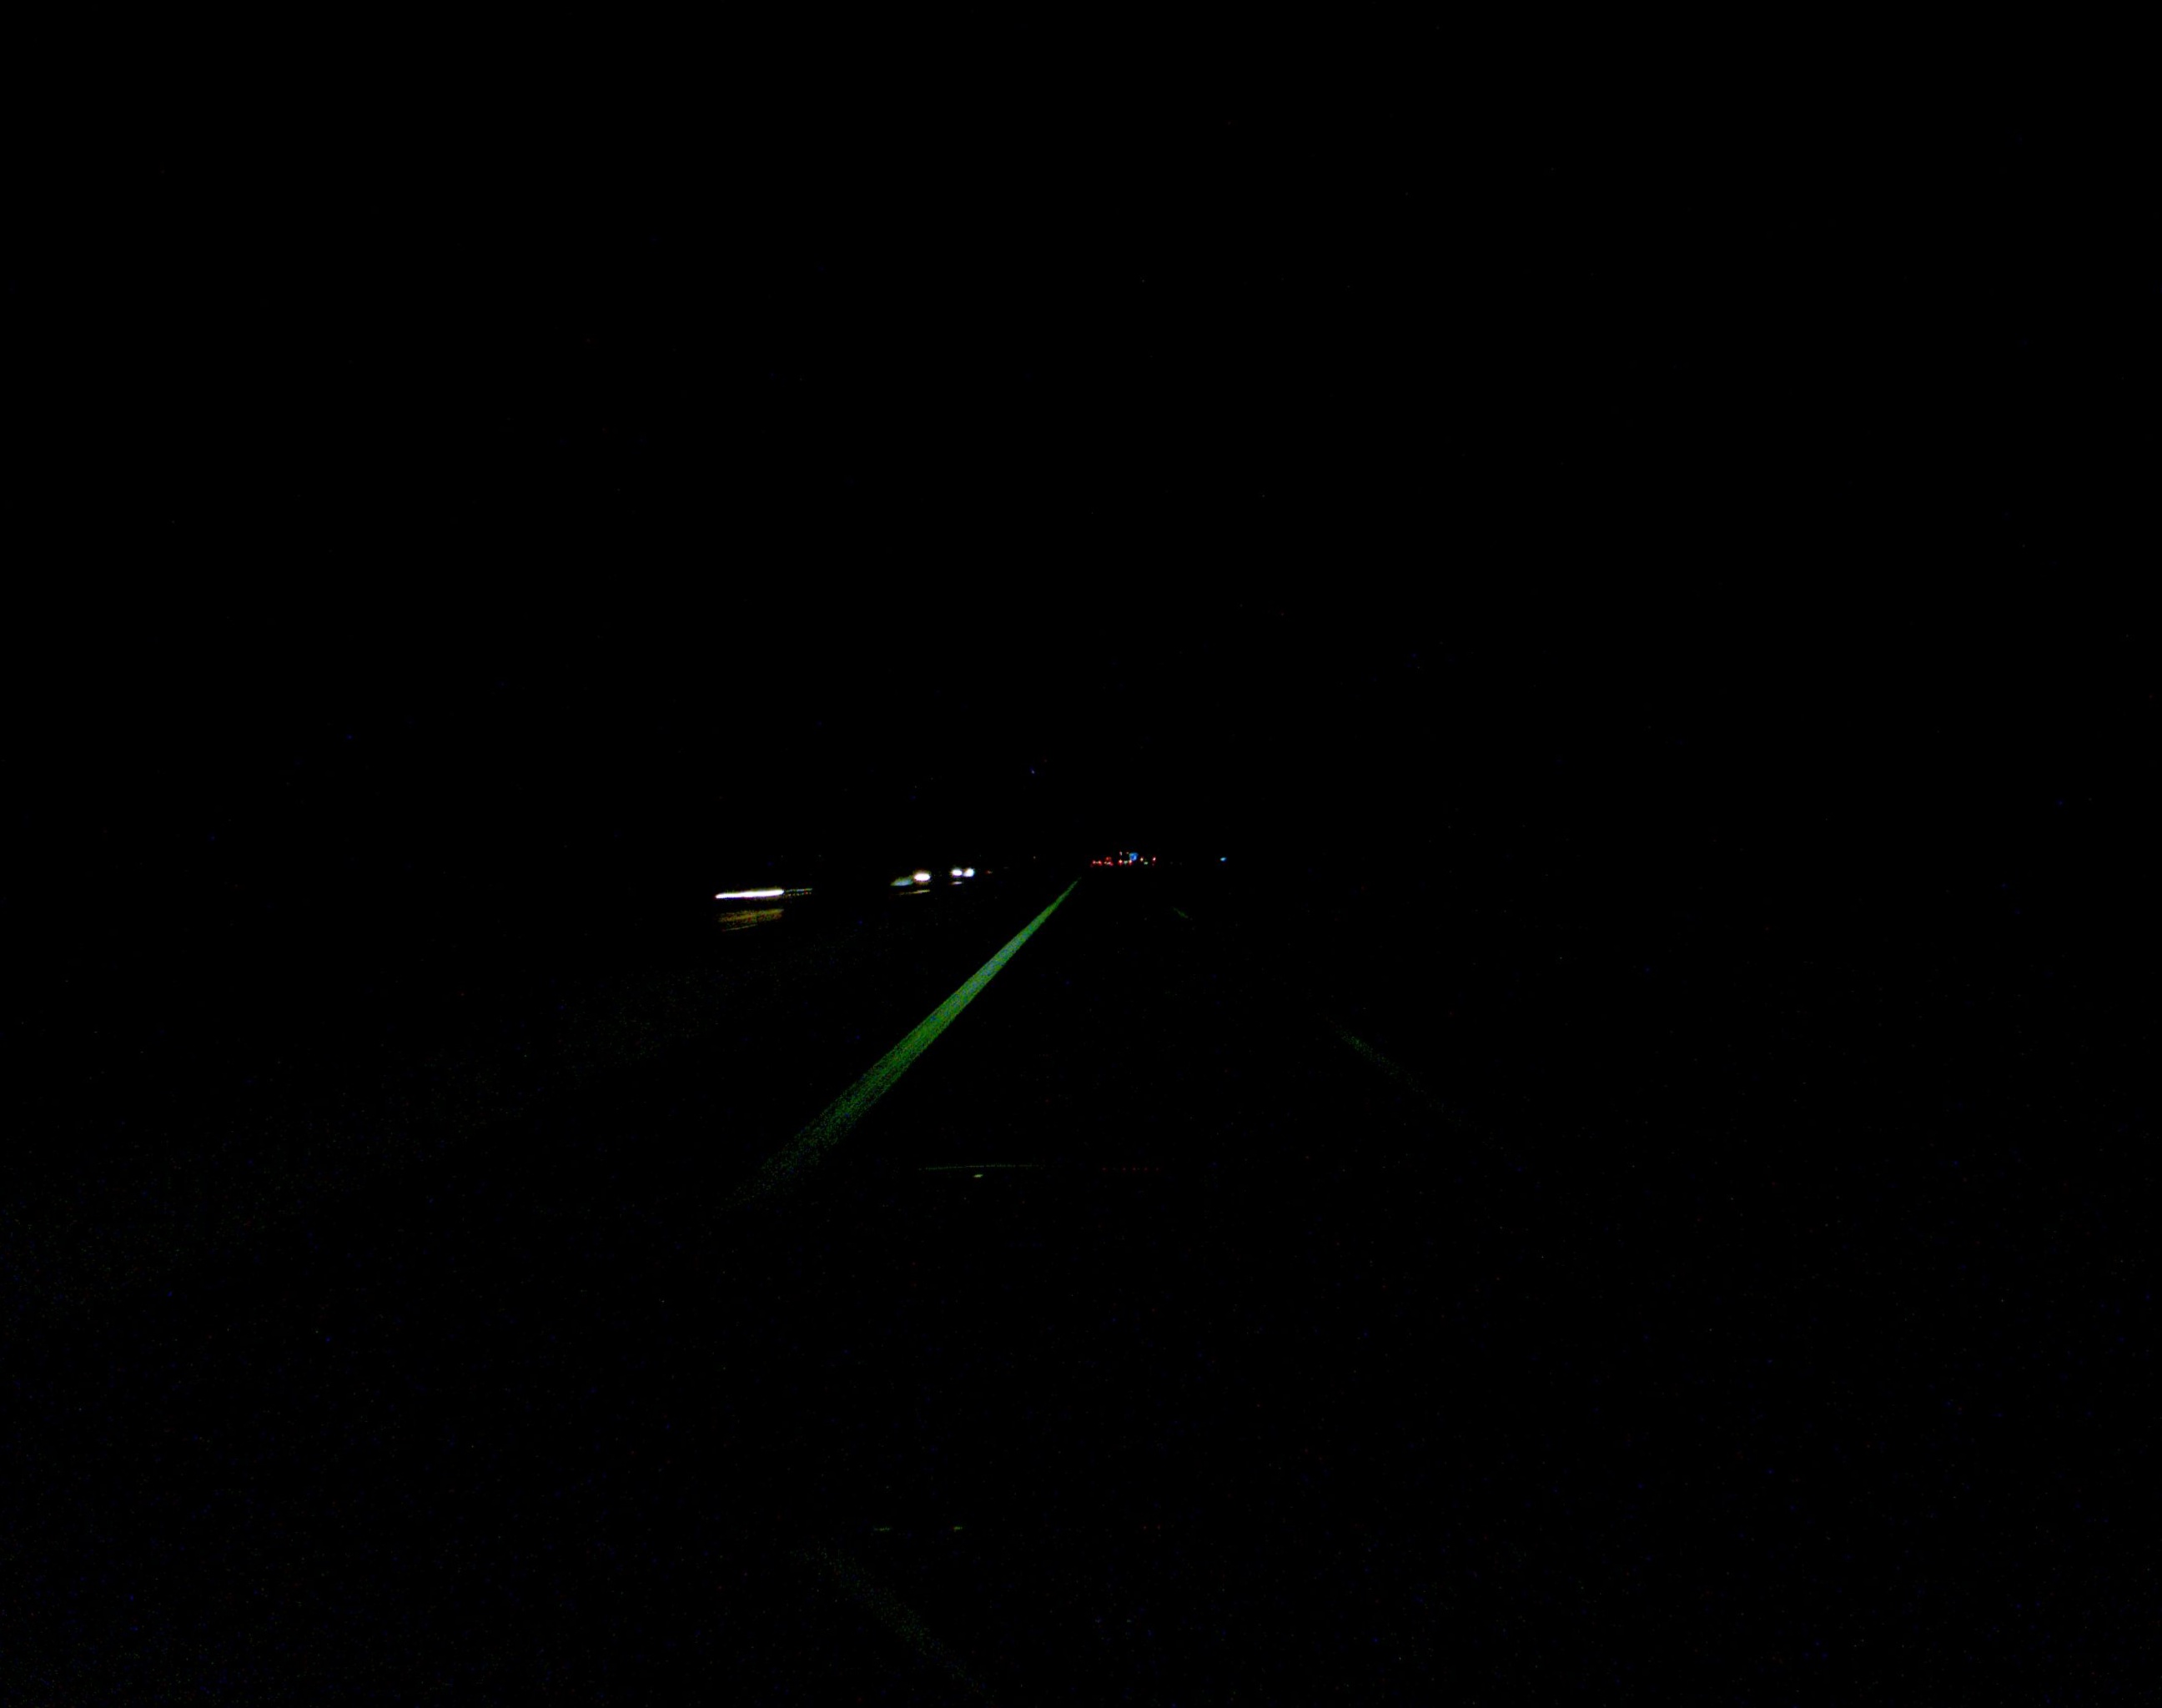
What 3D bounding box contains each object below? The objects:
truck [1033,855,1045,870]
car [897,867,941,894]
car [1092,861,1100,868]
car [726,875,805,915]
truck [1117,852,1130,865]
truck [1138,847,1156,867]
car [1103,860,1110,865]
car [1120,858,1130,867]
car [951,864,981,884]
[{"bbox_3d":[-12.743,2.504,247.442,3.105,4.202,16.966,-3,0,-2],"label":"truck"},{"bbox_3d":[-10.259,1.629,51.868,1.744,1.478,4.582,-3,0,0],"label":"car"},{"bbox_3d":[3.200,2.133,172.528,1.814,1.466,4.248,0,0,1],"label":"car"},{"bbox_3d":[-14.228,1.815,37.025,1.744,1.478,4.582,-3,0,0],"label":"car"},{"bbox_3d":[10.697,1.180,207.147,3.033,3.325,10.143,0,0,1],"label":"truck"},{"bbox_3d":[9.815,0.552,122.096,2.070,2.691,7.303,0,-2,-1],"label":"truck"},{"bbox_3d":[7.240,2.386,229.339,1.814,1.466,4.248,0,0,1],"label":"car"},{"bbox_3d":[6.854,1.261,127.059,1.341,1.387,3.502,0,0,1],"label":"car"},{"bbox_3d":[-9.928,1.694,70.603,1.744,1.478,4.584,-3,0,2],"label":"car"}]
